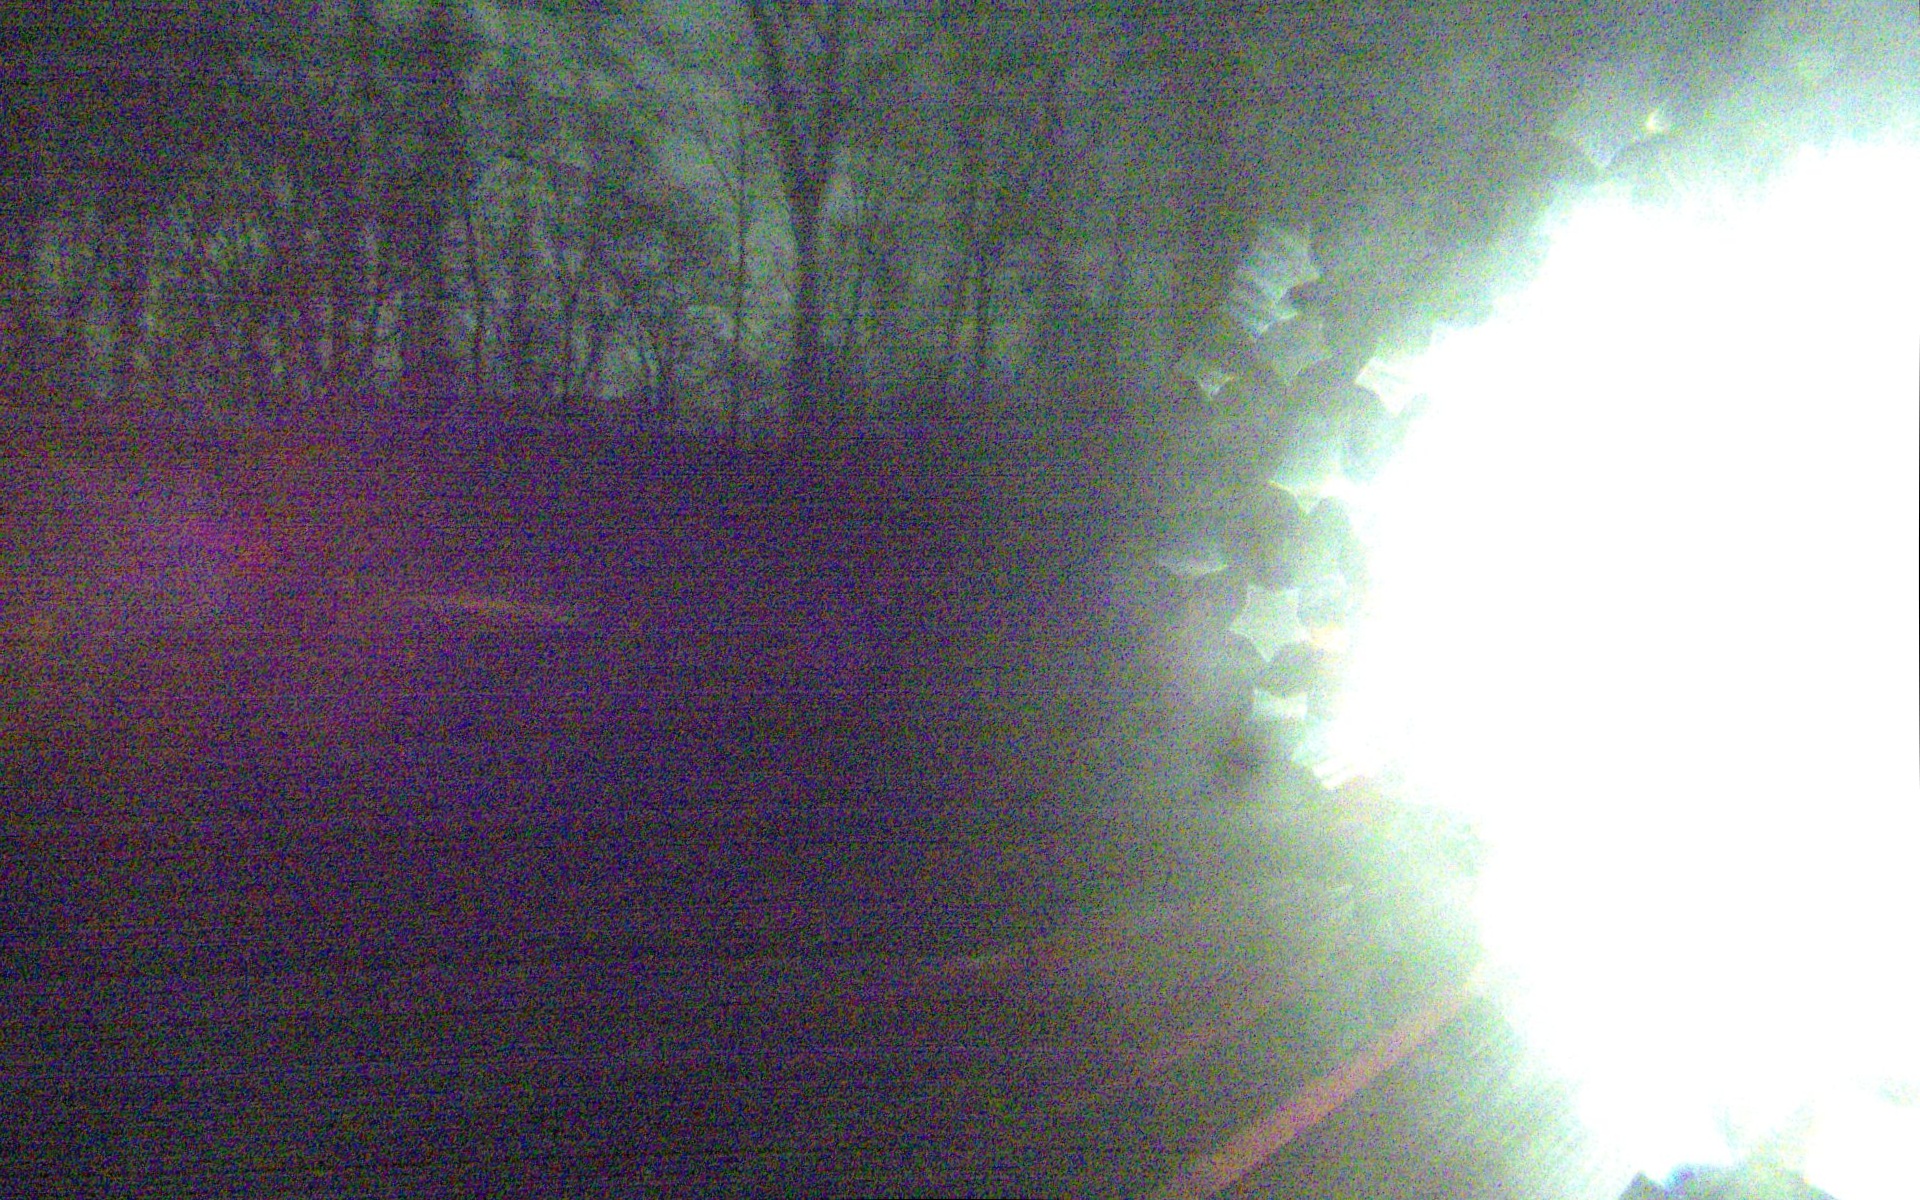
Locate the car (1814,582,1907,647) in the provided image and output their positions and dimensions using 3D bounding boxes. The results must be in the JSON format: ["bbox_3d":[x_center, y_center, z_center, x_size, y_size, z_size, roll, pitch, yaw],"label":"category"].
[{"bbox_3d":[26.563,0.357,29.959,1.886,1.631,3.942,4,5,40],"label":"car"}]

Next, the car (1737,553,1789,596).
[{"bbox_3d":[42.554,-1.332,53.707,1.988,2.040,3.946,-2,-3,37],"label":"car"}]
